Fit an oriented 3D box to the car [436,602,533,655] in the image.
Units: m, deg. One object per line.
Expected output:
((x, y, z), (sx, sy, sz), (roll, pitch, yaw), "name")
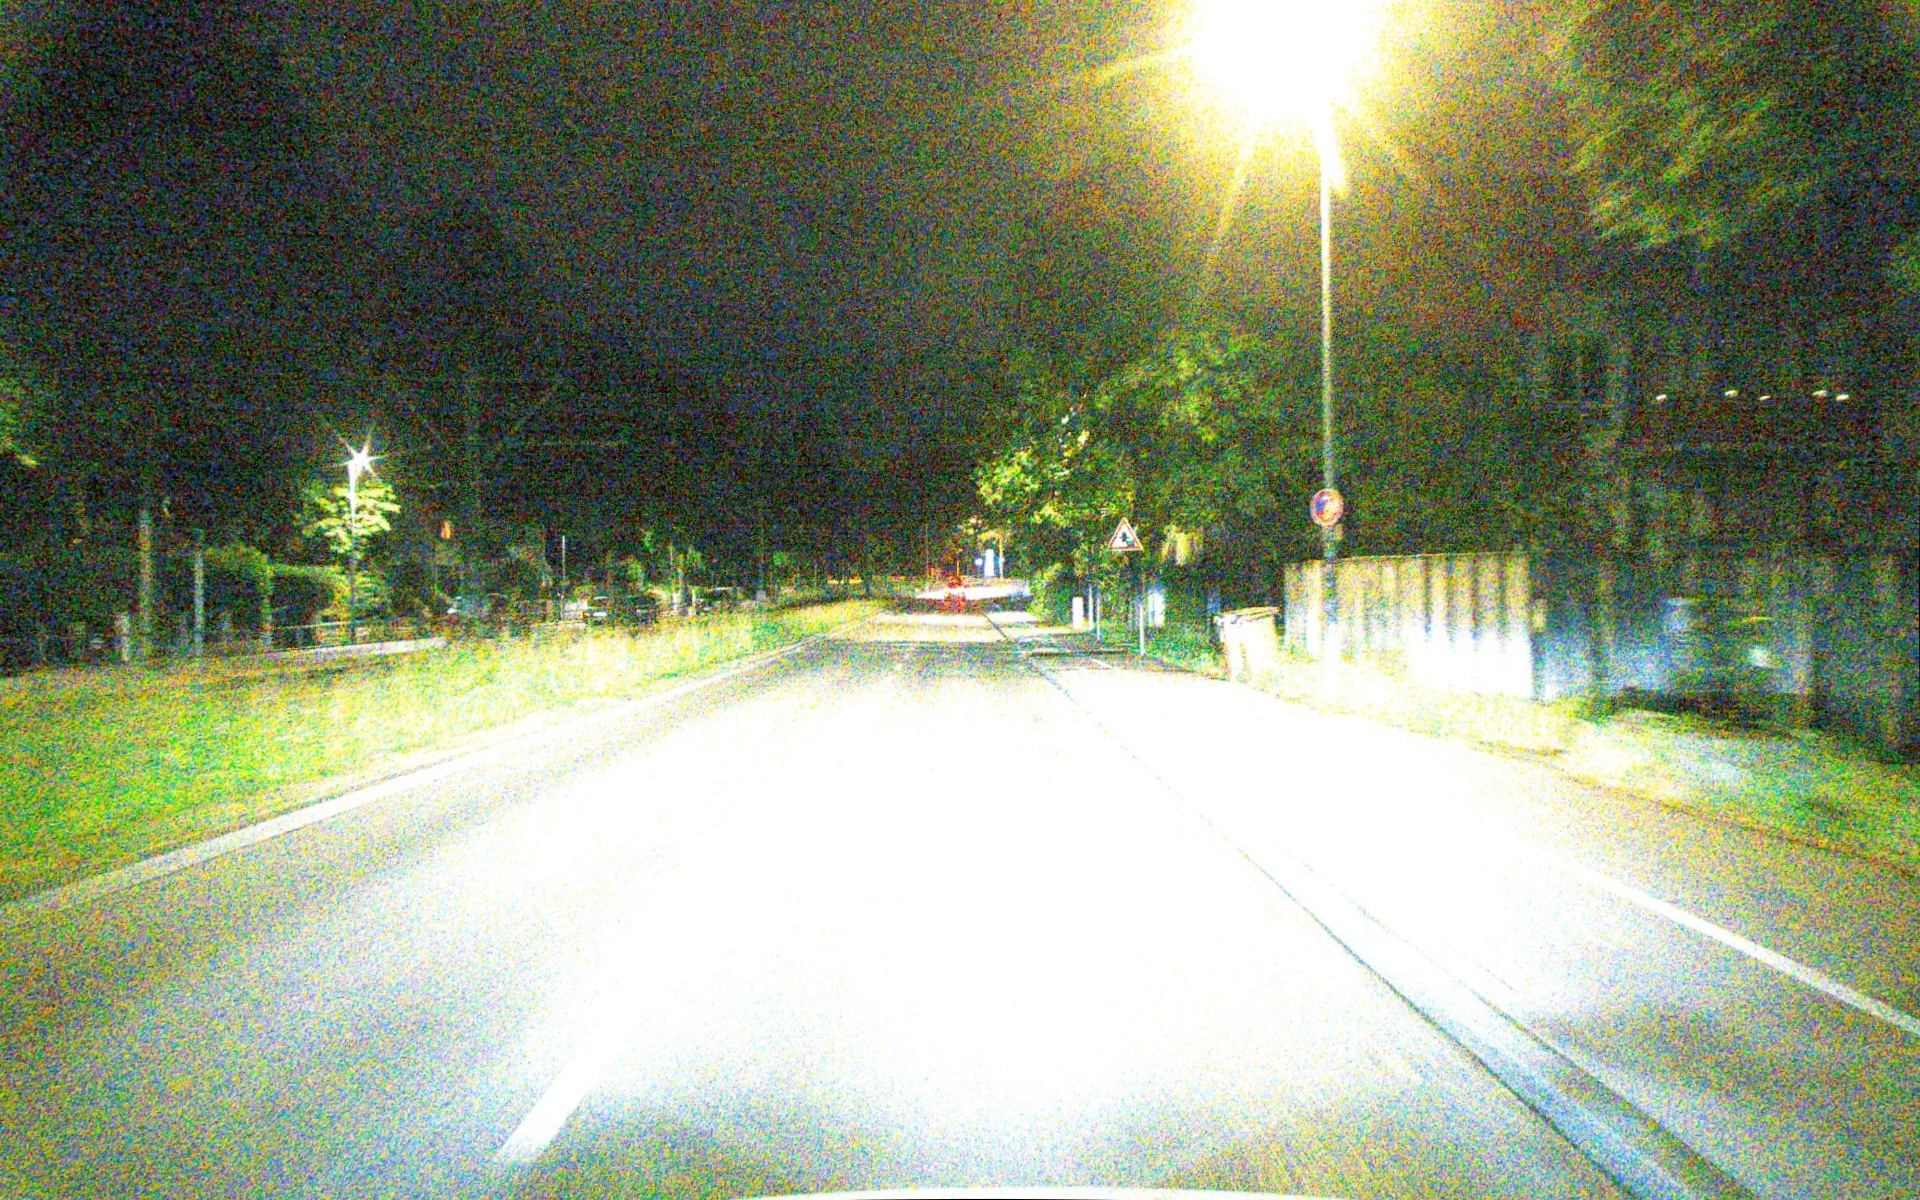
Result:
((-15.721, 0.902, 54.934), (1.953, 1.656, 4.676), (-1, 0, -1), "car")

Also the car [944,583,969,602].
((-0.319, -0.641, 143.410), (2.117, 1.610, 4.013), (0, 0, 0), "car")

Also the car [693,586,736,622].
((-15.652, 0.222, 105.597), (2.050, 2.048, 3.999), (-5, 1, -1), "car")

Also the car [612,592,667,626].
((-15.617, 0.432, 80.829), (1.953, 1.556, 3.999), (-1, 0, -1), "car")

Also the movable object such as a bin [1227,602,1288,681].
((4.610, 0.639, 25.669), (0.816, 1.202, 0.829), (0, 0, 2), "movable object such as a bin")

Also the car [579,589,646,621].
((-15.694, 0.233, 74.927), (1.953, 1.361, 5.431), (-1, 0, -1), "car")

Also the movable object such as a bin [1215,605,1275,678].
((4.560, 0.652, 26.544), (0.839, 1.139, 0.840), (0, 0, 2), "movable object such as a bin")
